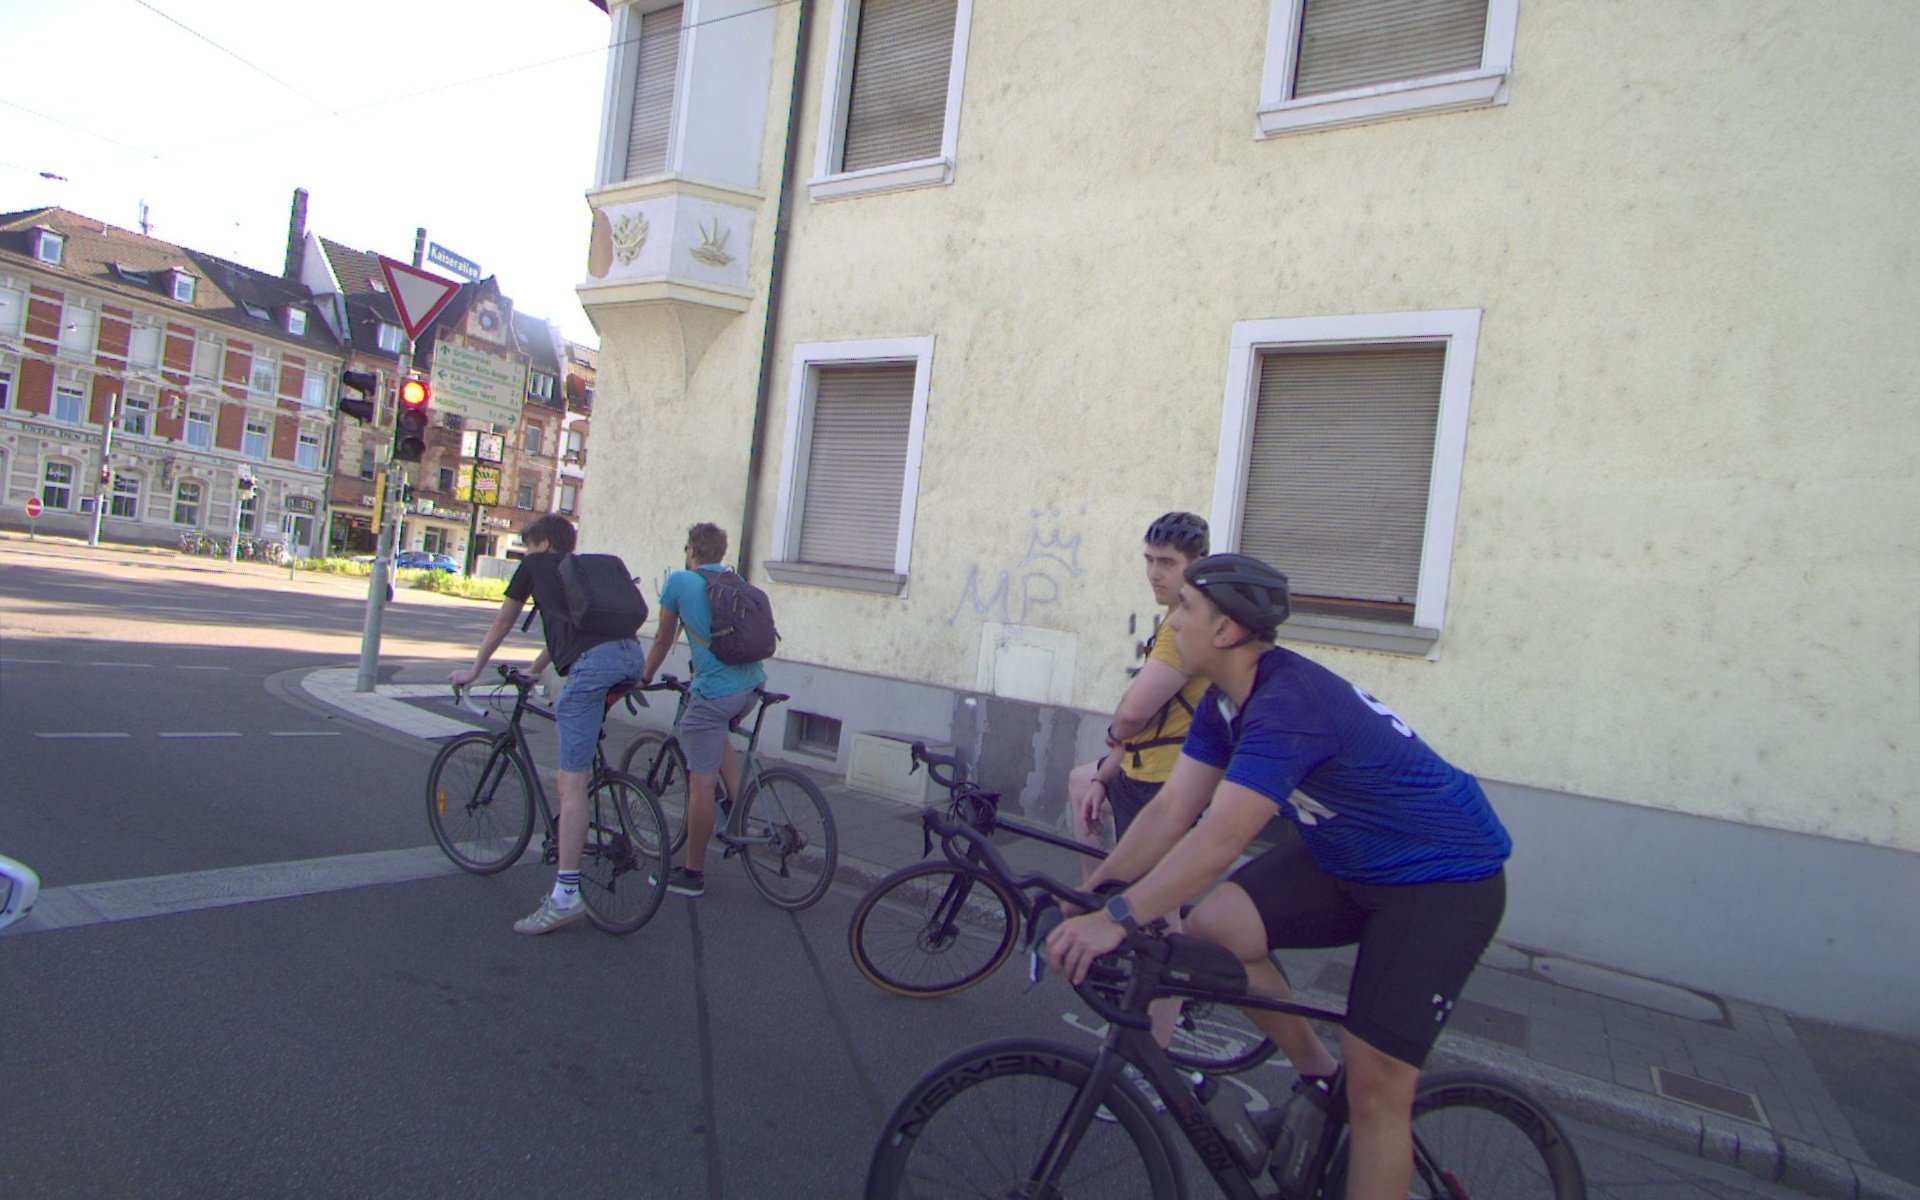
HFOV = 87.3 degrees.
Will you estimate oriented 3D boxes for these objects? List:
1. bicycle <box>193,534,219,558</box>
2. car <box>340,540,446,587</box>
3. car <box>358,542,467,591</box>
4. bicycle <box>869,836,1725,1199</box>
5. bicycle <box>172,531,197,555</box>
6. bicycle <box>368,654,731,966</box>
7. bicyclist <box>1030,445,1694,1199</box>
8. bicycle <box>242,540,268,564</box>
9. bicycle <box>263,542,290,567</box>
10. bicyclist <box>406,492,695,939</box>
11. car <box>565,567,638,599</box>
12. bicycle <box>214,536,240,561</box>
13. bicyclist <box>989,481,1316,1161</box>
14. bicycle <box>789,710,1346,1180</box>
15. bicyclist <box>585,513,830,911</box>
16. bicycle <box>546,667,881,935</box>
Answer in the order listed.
[{"bbox_3d":[-34.770,-2.503,46.400,0.762,0.979,2.186,8,-2,-39],"label":"bicycle"},{"bbox_3d":[-27.645,-1.745,49.154,1.775,1.641,3.994,6,-2,33],"label":"car"},{"bbox_3d":[-25.450,-1.544,46.892,1.775,1.641,3.994,6,-2,33],"label":"car"},{"bbox_3d":[0.645,1.164,2.173,1.597,1.090,0.554,5,3,-10],"label":"bicycle"},{"bbox_3d":[-35.372,-2.604,45.876,0.762,0.974,2.186,8,-2,-39],"label":"bicycle"},{"bbox_3d":[-1.904,0.859,4.560,1.753,1.003,0.482,6,-1,32],"label":"bicycle"},{"bbox_3d":[0.691,0.624,2.138,0.717,1.718,1.018,5,3,-9],"label":"bicyclist"},{"bbox_3d":[-33.566,-2.296,47.897,0.762,1.019,2.196,8,-2,-39],"label":"bicycle"},{"bbox_3d":[-33.023,-2.197,48.612,0.789,1.027,2.186,8,-2,-39],"label":"bicycle"},{"bbox_3d":[-1.856,0.469,4.563,0.920,1.787,0.590,6,-1,32],"label":"bicyclist"},{"bbox_3d":[-23.172,-1.085,65.132,1.842,1.454,3.985,6,-2,35],"label":"car"},{"bbox_3d":[-34.274,-2.412,47.023,0.762,0.995,2.186,8,-2,-39],"label":"bicycle"},{"bbox_3d":[0.698,0.674,3.509,0.763,1.990,0.783,7,0,18],"label":"bicyclist"},{"bbox_3d":[0.395,1.101,3.644,1.709,1.119,0.783,7,-1,18],"label":"bicycle"},{"bbox_3d":[-1.327,0.536,5.265,0.960,1.868,0.504,6,-1,32],"label":"bicyclist"},{"bbox_3d":[-1.319,0.964,5.227,1.753,0.995,0.504,6,-1,32],"label":"bicycle"}]
